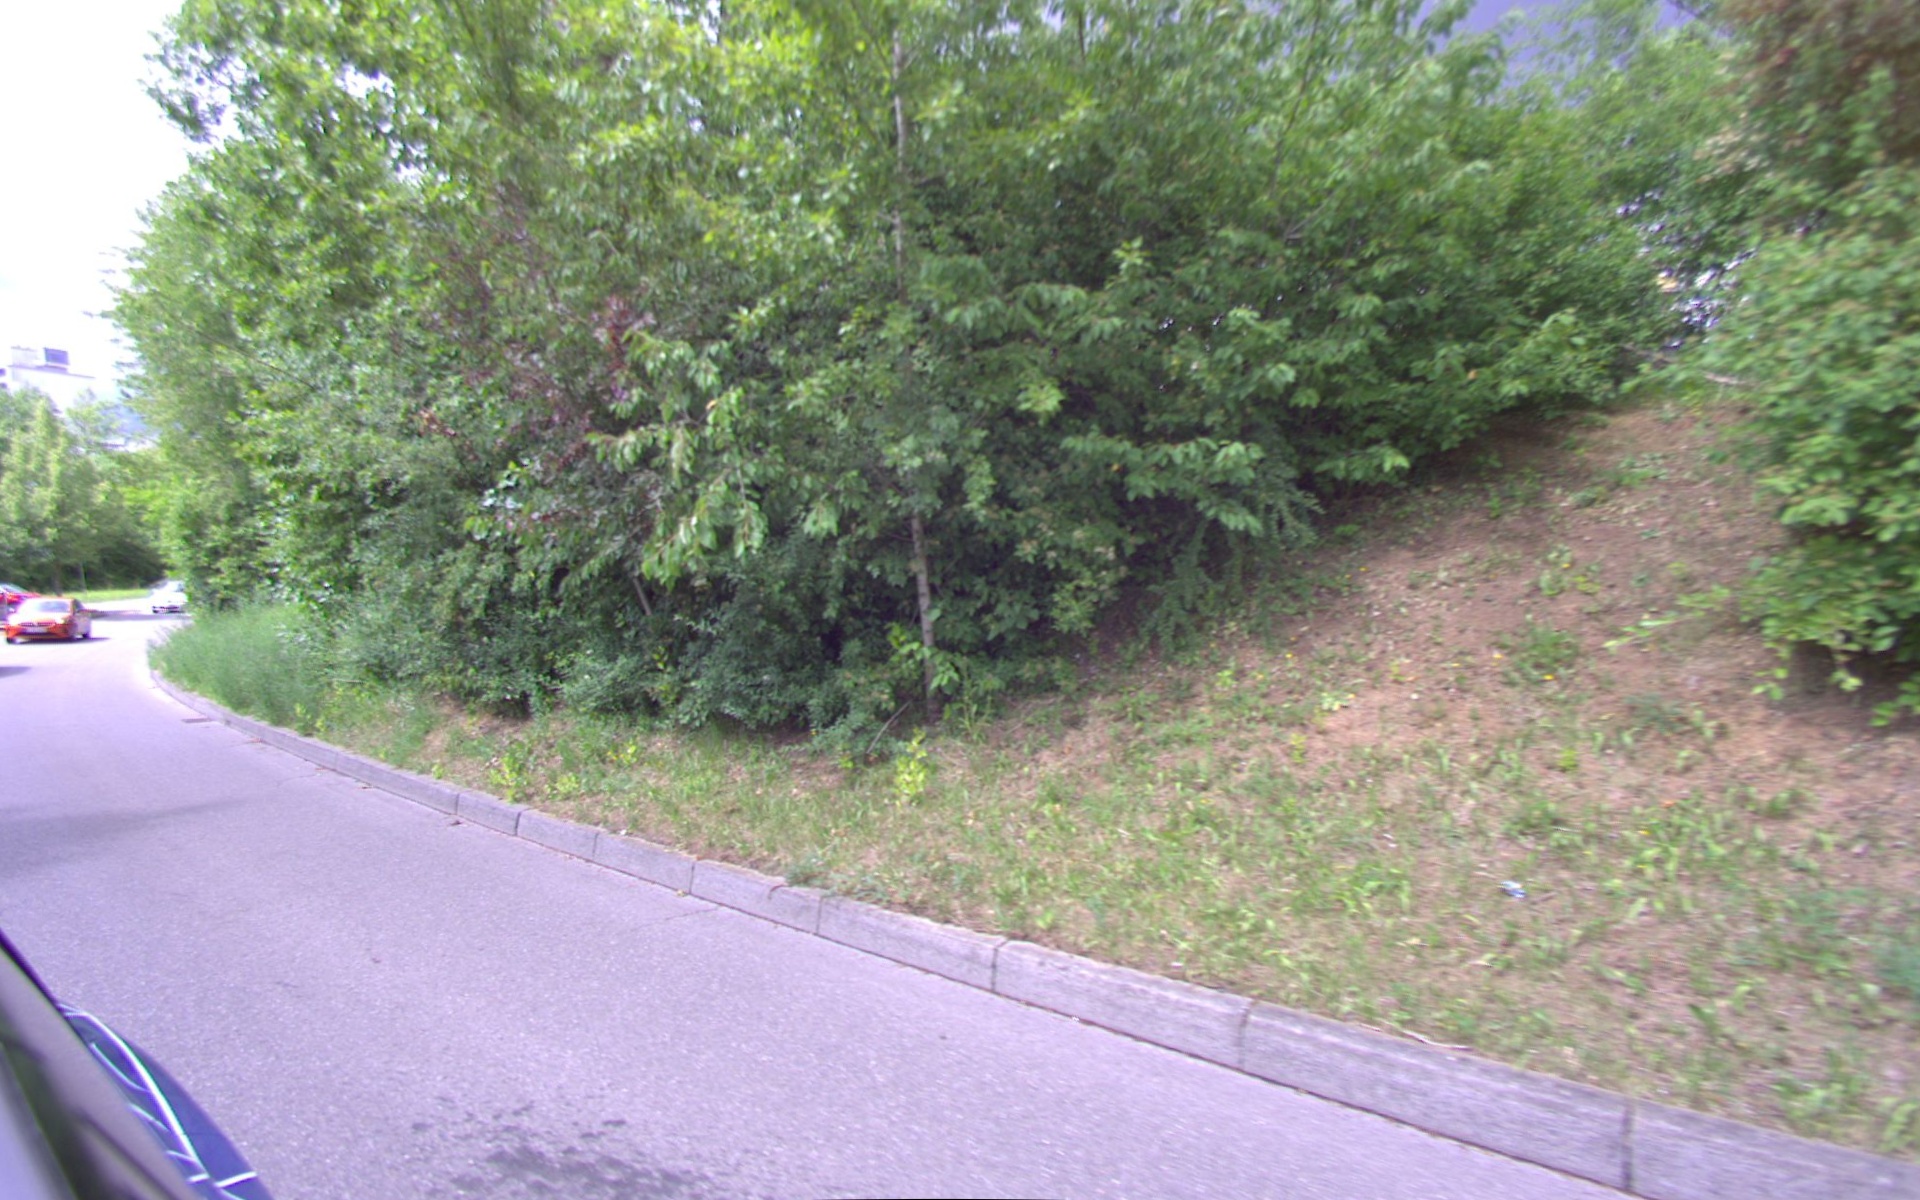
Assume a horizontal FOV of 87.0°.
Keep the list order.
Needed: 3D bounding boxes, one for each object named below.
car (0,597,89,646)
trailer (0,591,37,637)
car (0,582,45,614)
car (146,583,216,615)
[{"bbox_3d":[-30.195,0.674,33.356,1.767,1.423,4.124,1,1,-34],"label":"car"},{"bbox_3d":[-36.713,0.503,38.191,1.784,1.591,4.504,0,1,-29],"label":"trailer"},{"bbox_3d":[-48.355,-0.102,50.635,3.432,1.528,1.656,-1,3,-9],"label":"car"},{"bbox_3d":[-40.193,-0.083,52.313,1.766,1.520,4.127,-2,1,-22],"label":"car"}]
